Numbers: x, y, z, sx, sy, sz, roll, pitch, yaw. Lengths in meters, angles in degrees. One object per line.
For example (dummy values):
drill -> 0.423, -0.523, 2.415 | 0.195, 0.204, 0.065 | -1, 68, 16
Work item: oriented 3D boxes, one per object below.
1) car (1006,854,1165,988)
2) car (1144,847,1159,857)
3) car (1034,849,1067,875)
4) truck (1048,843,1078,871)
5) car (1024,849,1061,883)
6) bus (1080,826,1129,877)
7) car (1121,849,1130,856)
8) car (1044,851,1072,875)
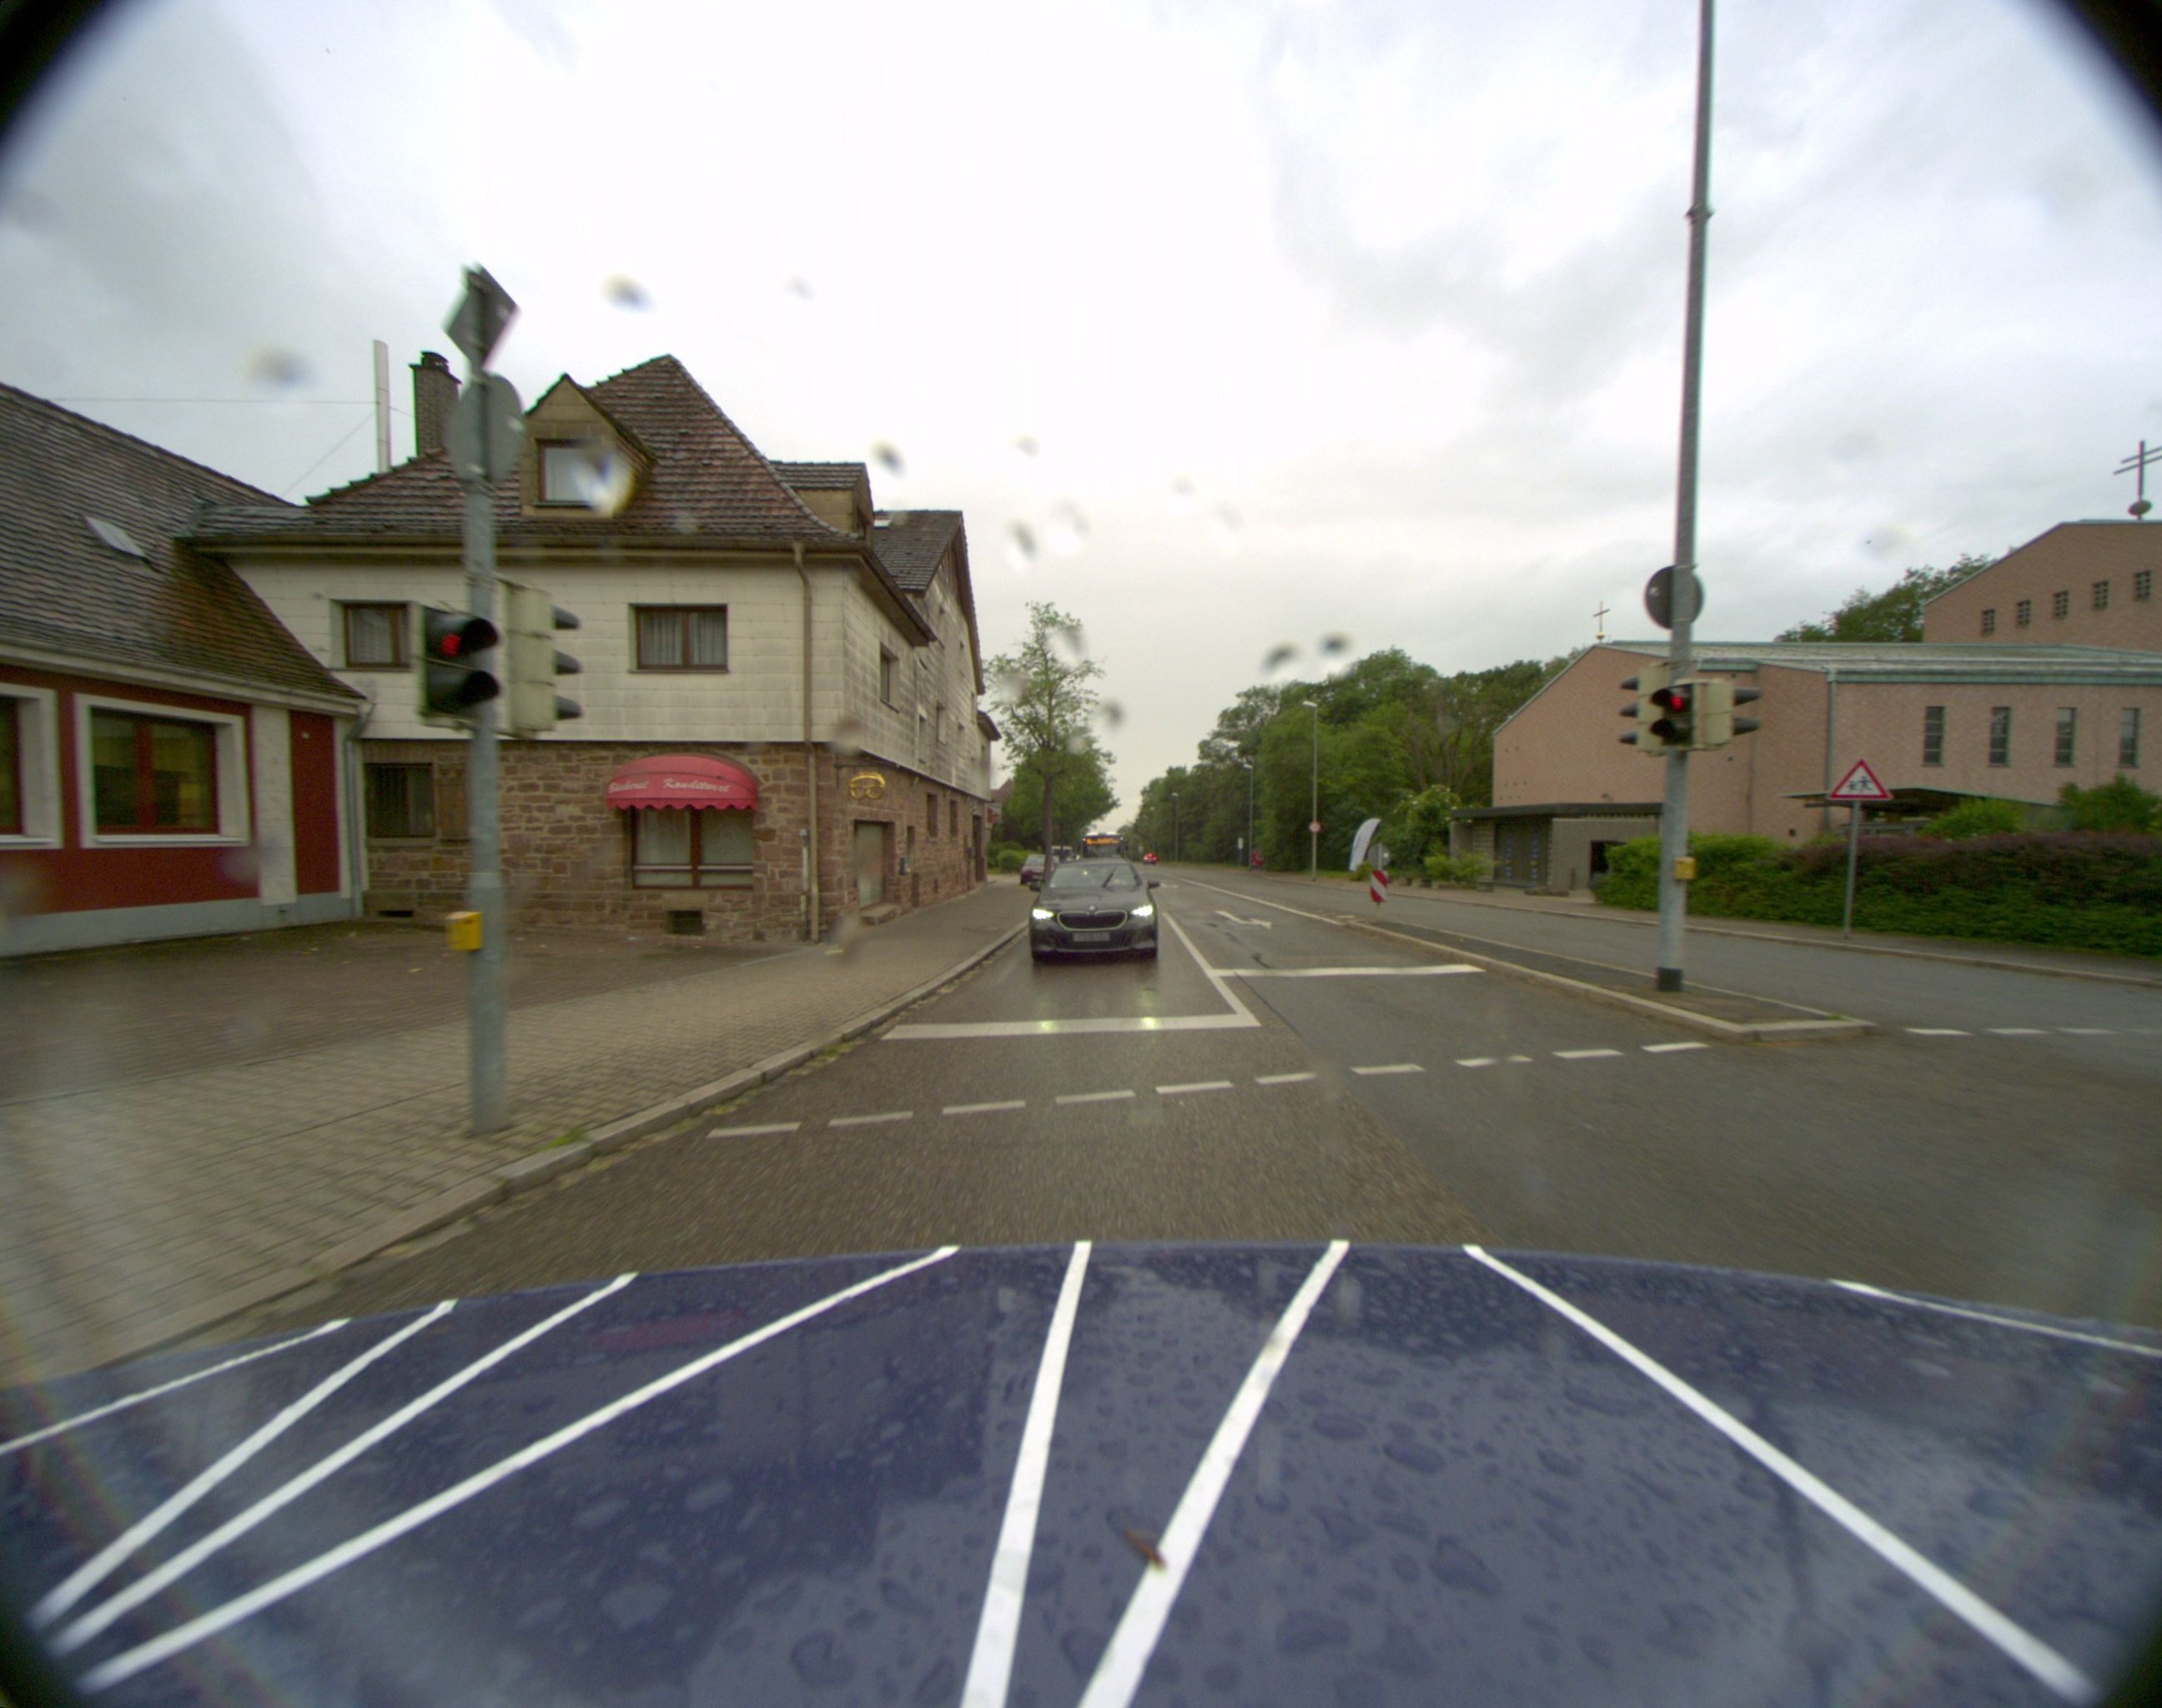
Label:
car -> 0.129, 0.817, 11.397 | 1.882, 1.520, 4.316 | -2, 0, 2
car -> 11.339, -0.339, 122.068 | 1.913, 1.581, 4.316 | 0, 1, -1
car -> -1.835, 0.476, 46.647 | 1.719, 1.416, 4.000 | 2, 1, 2
truck -> -1.392, 0.210, 61.830 | 1.998, 2.184, 5.756 | 1, 0, 3
car -> -1.799, 0.592, 36.402 | 1.614, 1.494, 3.757 | -2, -1, -1
bus -> 1.589, -0.223, 48.363 | 2.767, 2.858, 9.403 | -2, 1, 3
car -> 11.233, -0.384, 190.147 | 1.915, 1.445, 4.947 | 4, 1, 0
car -> -1.544, 0.567, 52.125 | 1.720, 1.456, 3.999 | 2, 1, 0
